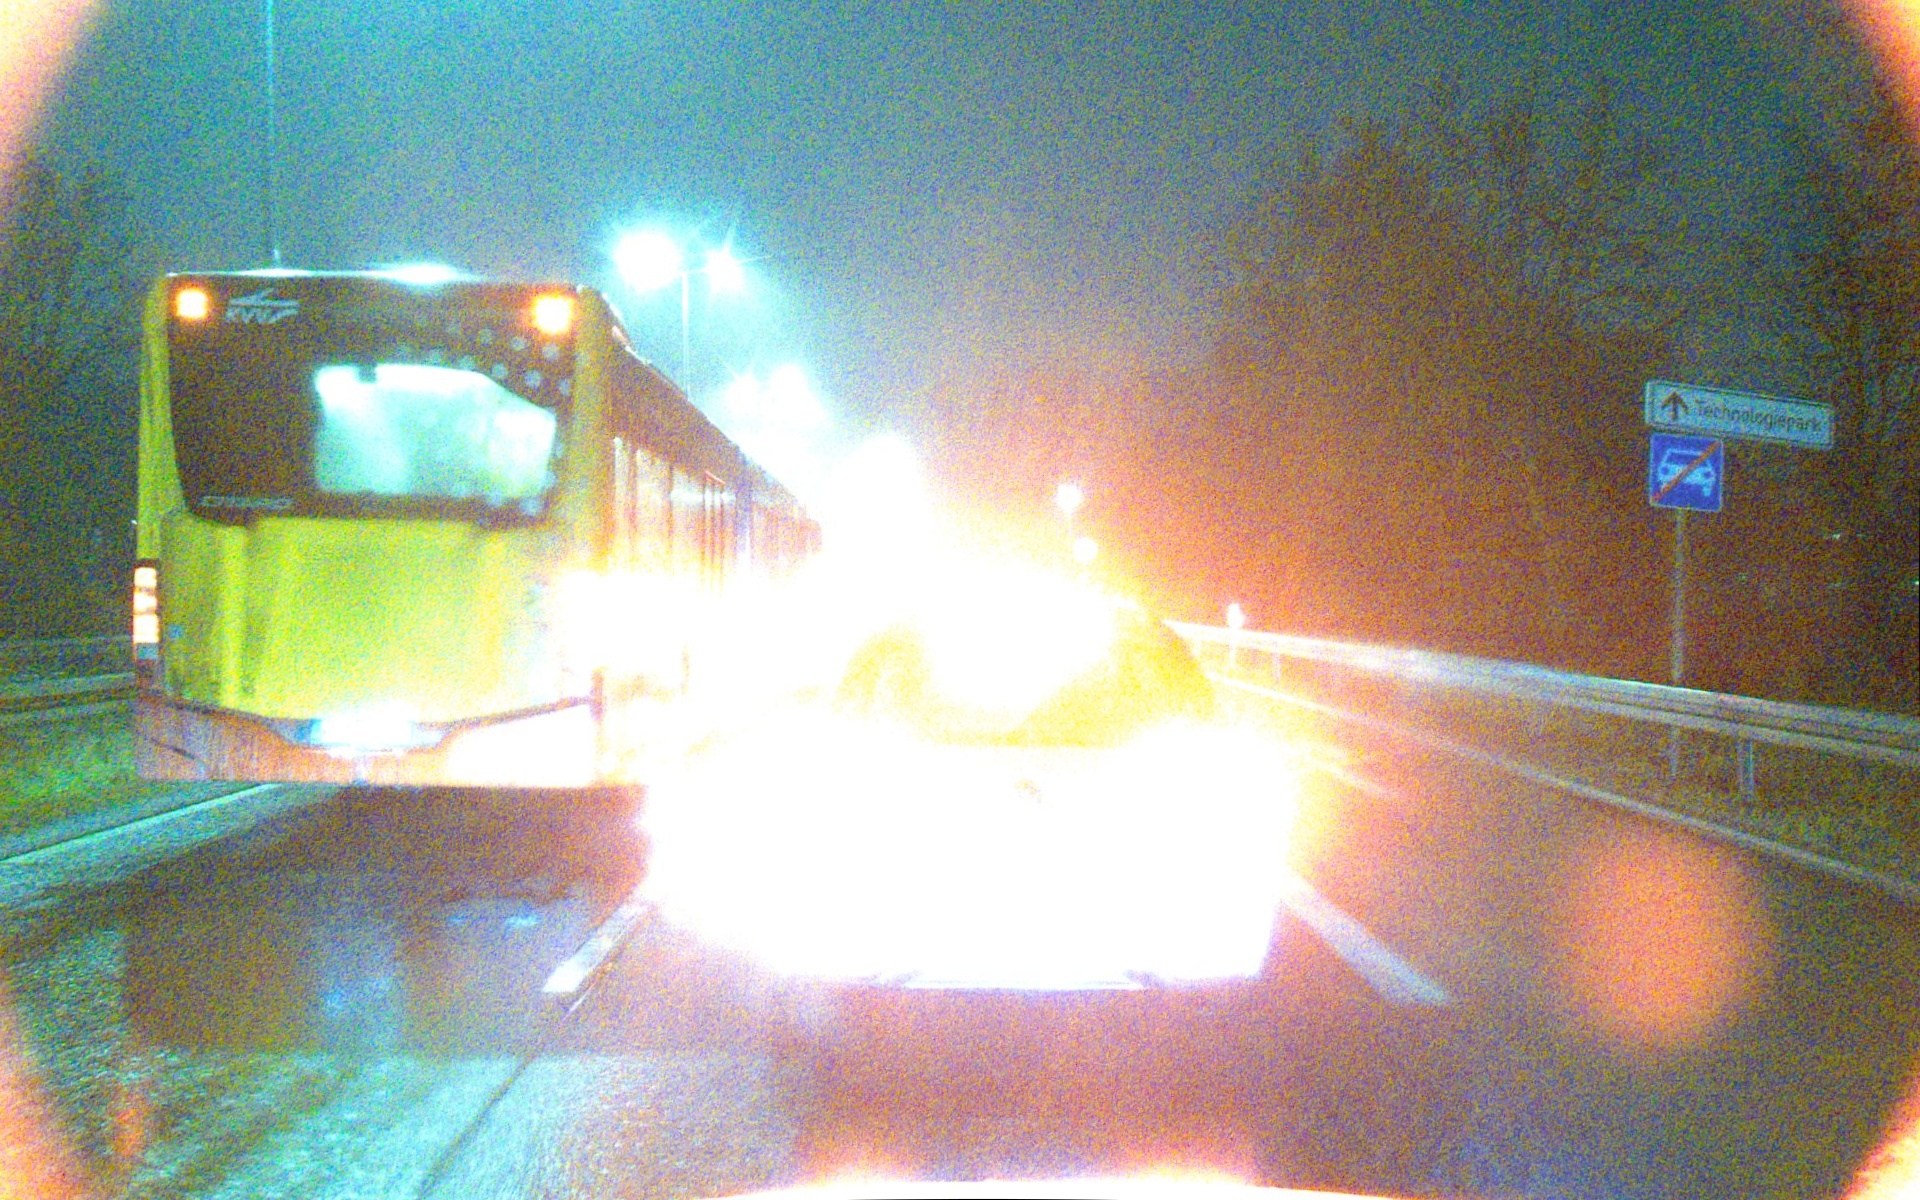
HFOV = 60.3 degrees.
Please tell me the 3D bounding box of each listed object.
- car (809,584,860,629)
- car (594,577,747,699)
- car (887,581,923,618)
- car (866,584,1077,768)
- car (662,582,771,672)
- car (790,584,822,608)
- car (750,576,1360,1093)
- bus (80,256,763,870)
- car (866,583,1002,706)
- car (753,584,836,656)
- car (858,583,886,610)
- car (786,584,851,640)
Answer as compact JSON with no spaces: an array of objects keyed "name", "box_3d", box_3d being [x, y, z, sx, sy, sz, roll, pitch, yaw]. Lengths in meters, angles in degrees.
[{"name":"car","box_3d":[-4.557,0.219,60.098,1.744,1.570,3.871,1,0,-4]},{"name":"car","box_3d":[-4.000,0.484,23.387,1.744,1.570,3.871,1,0,-4]},{"name":"car","box_3d":[-3.117,-0.032,94.388,1.953,2.049,3.999,1,0,-1]},{"name":"car","box_3d":[-0.017,0.603,15.749,1.697,1.474,4.722,1,0,-3]},{"name":"car","box_3d":[-4.499,0.460,31.008,1.744,1.570,3.871,1,0,-4]},{"name":"car","box_3d":[-11.050,-0.303,118.670,1.953,1.668,3.999,1,0,-1]},{"name":"car","box_3d":[0.242,0.674,7.133,1.784,1.510,4.567,0,0,-1]},{"name":"bus","box_3d":[-3.223,-0.207,12.700,2.759,3.077,8.682,0,0,-3]},{"name":"car","box_3d":[-0.448,0.575,23.694,1.705,1.592,3.773,1,0,-4]},{"name":"car","box_3d":[-3.760,0.428,38.077,1.744,1.570,3.872,1,0,-3]},{"name":"car","box_3d":[-6.048,-0.237,113.847,1.779,1.829,3.802,1,0,-1]},{"name":"car","box_3d":[-4.099,0.320,48.337,1.744,1.570,3.872,1,0,-3]}]
